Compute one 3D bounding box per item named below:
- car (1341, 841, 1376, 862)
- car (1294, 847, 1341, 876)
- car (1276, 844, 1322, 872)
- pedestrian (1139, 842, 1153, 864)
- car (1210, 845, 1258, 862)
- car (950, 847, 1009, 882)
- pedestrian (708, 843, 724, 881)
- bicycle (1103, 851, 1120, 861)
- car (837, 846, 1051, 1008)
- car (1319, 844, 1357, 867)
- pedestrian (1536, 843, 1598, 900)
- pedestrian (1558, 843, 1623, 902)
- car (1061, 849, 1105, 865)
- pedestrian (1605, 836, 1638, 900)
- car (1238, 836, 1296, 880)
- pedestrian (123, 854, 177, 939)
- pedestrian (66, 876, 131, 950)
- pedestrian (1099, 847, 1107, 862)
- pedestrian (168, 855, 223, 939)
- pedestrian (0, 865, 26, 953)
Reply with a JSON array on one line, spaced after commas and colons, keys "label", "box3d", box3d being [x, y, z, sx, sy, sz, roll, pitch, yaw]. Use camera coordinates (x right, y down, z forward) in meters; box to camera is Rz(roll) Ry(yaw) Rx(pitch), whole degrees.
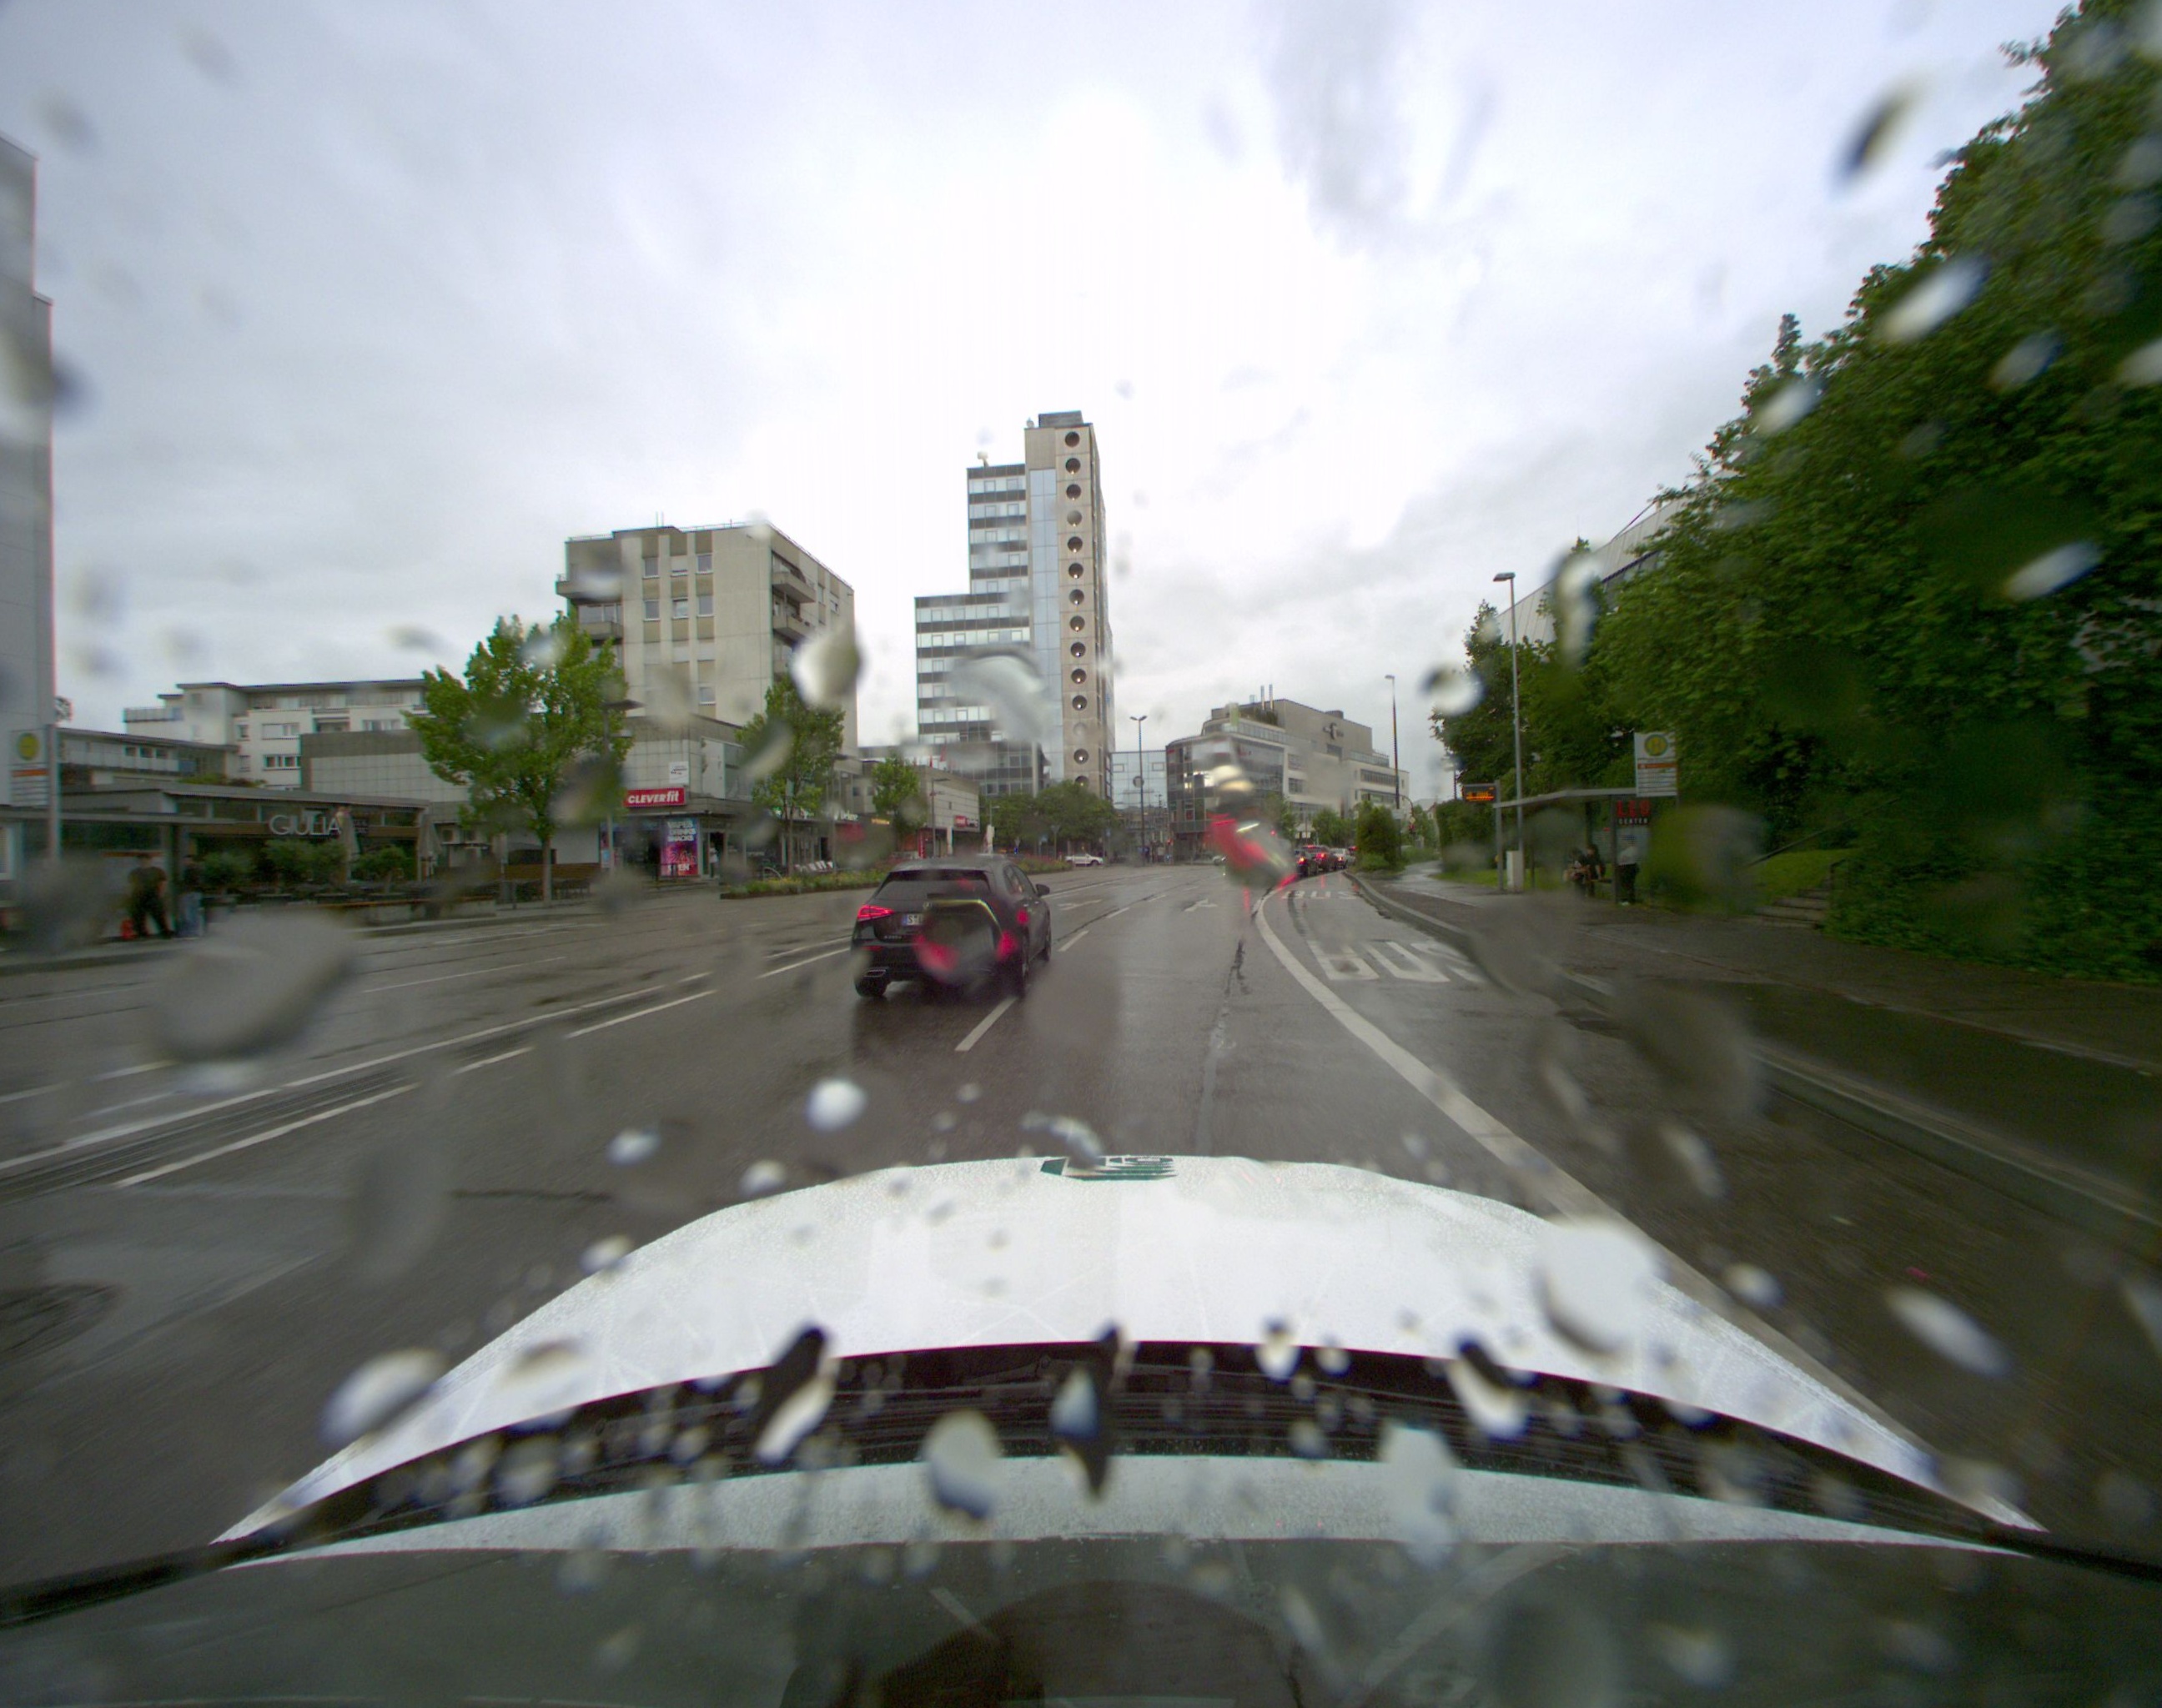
[{"label": "car", "box3d": [21.082, -0.206, 61.838, 1.893, 1.400, 3.480, -2, 2, 29]}, {"label": "car", "box3d": [14.624, 0.421, 50.227, 1.883, 1.620, 4.362, -1, 1, 28]}, {"label": "car", "box3d": [11.870, 0.174, 44.151, 1.617, 1.386, 4.541, -1, 1, 25]}, {"label": "pedestrian", "box3d": [6.153, -0.074, 76.844, 1.158, 2.013, 1.328, -2, 0, 0]}, {"label": "car", "box3d": [14.104, -0.067, 74.993, 4.836, 1.460, 1.825, -2, 1, -44]}, {"label": "car", "box3d": [-4.632, 0.430, 37.901, 1.690, 1.466, 4.112, -3, 0, 7]}, {"label": "pedestrian", "box3d": [-17.872, 0.390, 39.839, 0.422, 1.848, 0.503, -1, 0, 18]}, {"label": "bicycle", "box3d": [4.331, 0.249, 114.504, 2.262, 1.246, 0.677, -2, 0, 5]}, {"label": "car", "box3d": [-1.390, 0.686, 9.759, 1.809, 1.529, 3.814, -1, 1, 1]}, {"label": "car", "box3d": [17.796, 0.086, 56.305, 1.618, 1.448, 4.296, -1, 1, 30]}, {"label": "pedestrian", "box3d": [11.792, 0.414, 19.794, 1.024, 1.281, 0.693, -4, 0, 6]}, {"label": "pedestrian", "box3d": [11.891, 0.418, 19.036, 1.024, 1.281, 0.693, -4, 0, 6]}, {"label": "car", "box3d": [0.251, 0.263, 83.501, 4.163, 1.595, 1.876, -1, 0, 12]}, {"label": "pedestrian", "box3d": [11.971, 0.302, 18.039, 0.546, 1.365, 0.406, -4, 0, -41]}, {"label": "car", "box3d": [8.660, 0.150, 37.614, 1.979, 1.894, 4.610, -1, 0, 20]}, {"label": "pedestrian", "box3d": [-18.568, 0.838, 16.240, 0.531, 1.659, 0.481, -1, 0, 14]}, {"label": "pedestrian", "box3d": [-18.707, 1.107, 15.509, 0.531, 1.352, 0.581, -1, 0, 14]}, {"label": "pedestrian", "box3d": [2.909, 0.045, 108.446, 0.767, 2.013, 0.708, -2, 0, -27]}, {"label": "pedestrian", "box3d": [-17.850, 0.856, 16.424, 0.475, 1.659, 0.538, -2, 0, 9]}, {"label": "pedestrian", "box3d": [-19.024, 0.965, 14.156, 0.536, 1.505, 0.612, -2, 0, -15]}]
